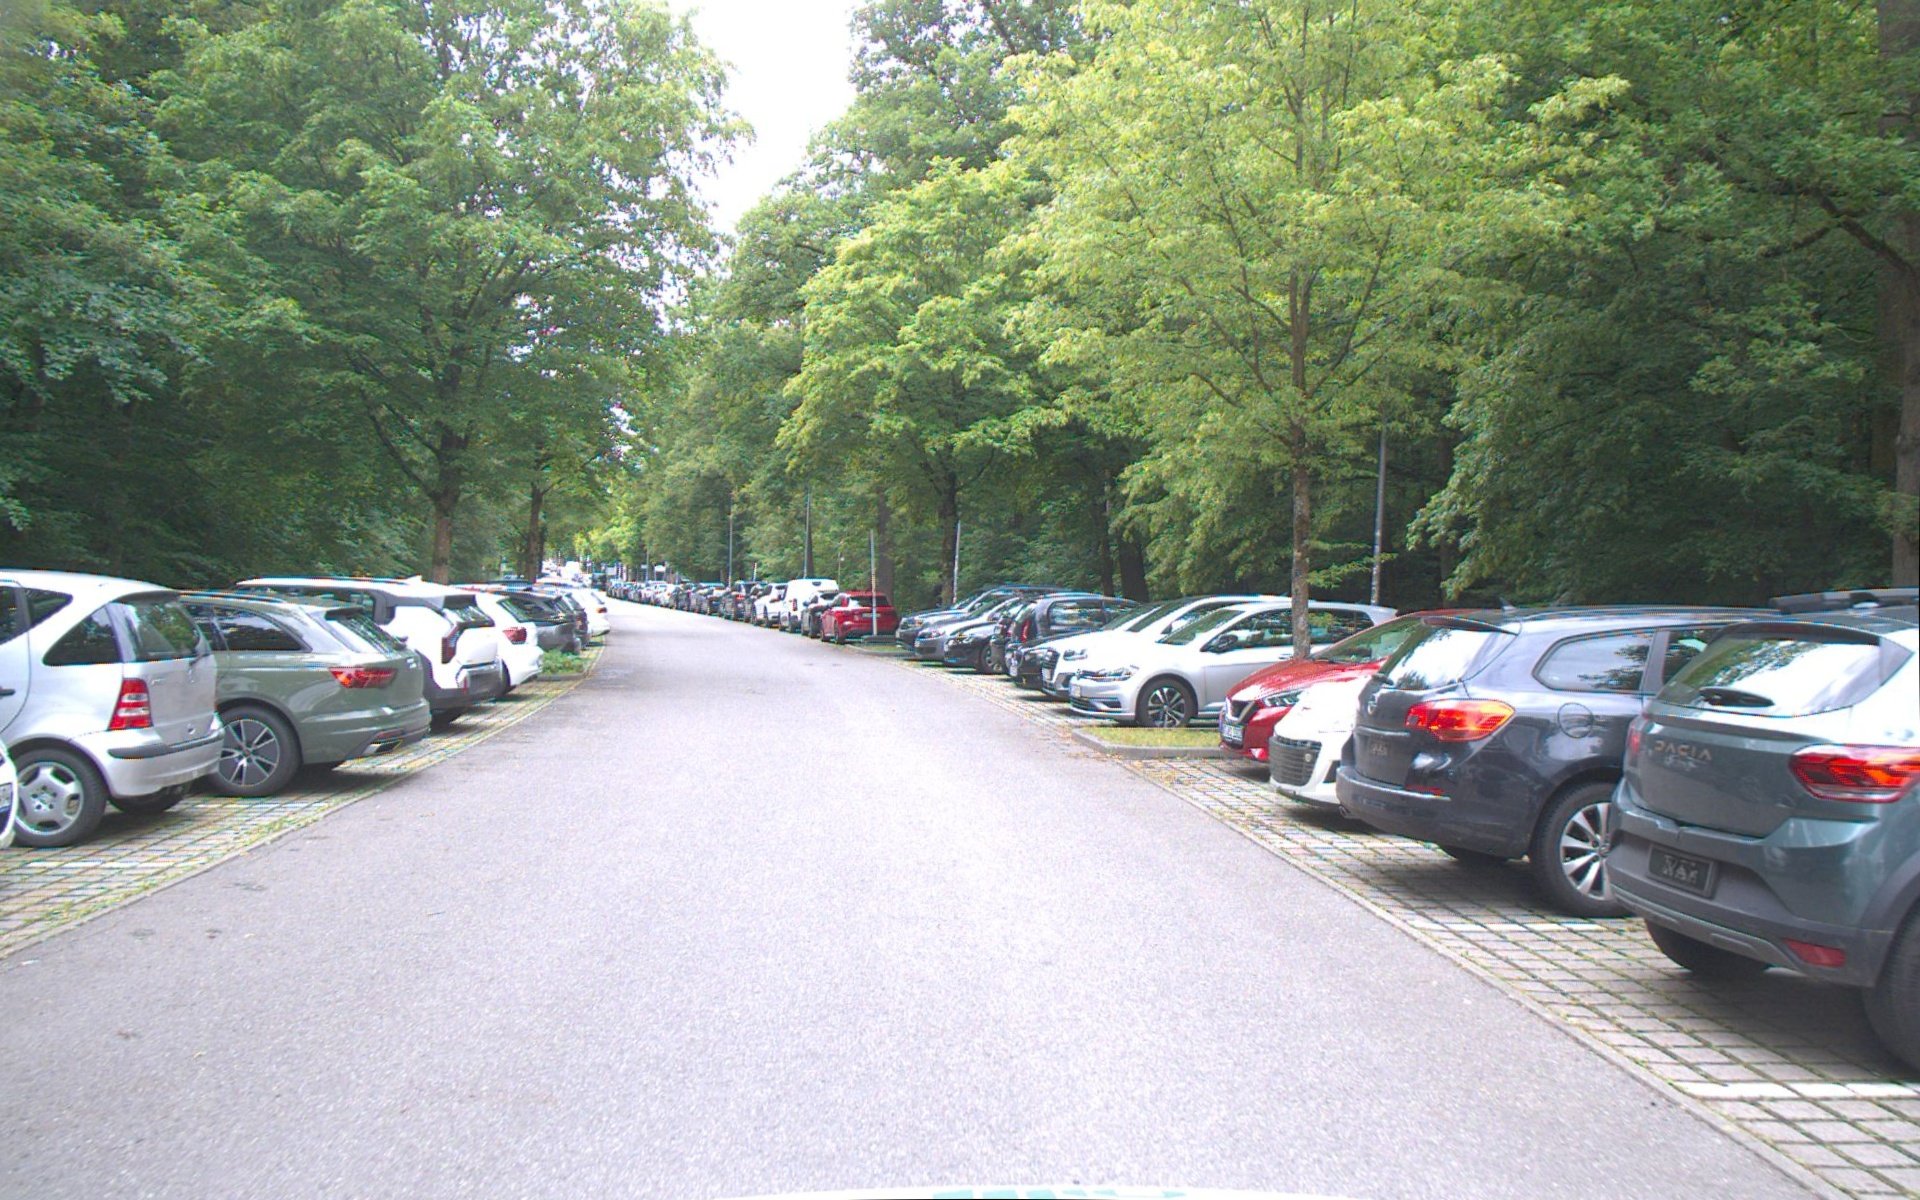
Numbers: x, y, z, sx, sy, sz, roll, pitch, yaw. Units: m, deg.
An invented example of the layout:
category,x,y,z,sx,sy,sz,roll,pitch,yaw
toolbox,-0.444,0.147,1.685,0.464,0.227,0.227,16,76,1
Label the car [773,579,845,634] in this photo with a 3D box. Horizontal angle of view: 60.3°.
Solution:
category,x,y,z,sx,sy,sz,roll,pitch,yaw
car,-5.267,0.198,57.246,1.715,1.811,4.534,1,0,-15

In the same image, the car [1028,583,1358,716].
category,x,y,z,sx,sy,sz,roll,pitch,yaw
car,2.984,0.619,21.728,3.931,1.586,1.975,1,1,-6

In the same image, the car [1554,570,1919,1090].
category,x,y,z,sx,sy,sz,roll,pitch,yaw
car,4.450,0.732,6.219,3.693,1.617,1.948,1,1,-3

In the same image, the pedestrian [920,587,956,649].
category,x,y,z,sx,sy,sz,roll,pitch,yaw
pedestrian,-0.646,0.508,47.764,0.803,1.756,1.000,1,0,-13

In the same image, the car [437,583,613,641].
category,x,y,z,sx,sy,sz,roll,pitch,yaw
car,-11.597,0.319,44.368,4.483,1.512,1.864,0,0,-13

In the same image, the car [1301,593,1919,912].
category,x,y,z,sx,sy,sz,roll,pitch,yaw
car,3.952,0.760,9.062,3.697,1.507,1.771,1,1,-8

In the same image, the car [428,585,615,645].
category,x,y,z,sx,sy,sz,roll,pitch,yaw
car,-11.144,0.380,42.073,4.489,1.472,2.076,0,0,-17

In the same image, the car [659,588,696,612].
category,x,y,z,sx,sy,sz,roll,pitch,yaw
car,-18.353,-0.010,107.369,1.906,1.501,3.974,1,0,-17

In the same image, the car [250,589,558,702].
category,x,y,z,sx,sy,sz,roll,pitch,yaw
car,-7.440,0.586,22.462,3.656,1.444,1.869,0,0,-8

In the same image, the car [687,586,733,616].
category,x,y,z,sx,sy,sz,roll,pitch,yaw
car,-13.696,0.041,90.329,1.946,1.564,4.602,1,0,-16

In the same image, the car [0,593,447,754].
category,x,y,z,sx,sy,sz,roll,pitch,yaw
car,-6.851,0.635,15.347,3.717,1.380,1.727,0,0,-7

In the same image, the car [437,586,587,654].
category,x,y,z,sx,sy,sz,roll,pitch,yaw
car,-9.991,0.447,37.103,3.163,1.469,1.675,1,0,-14

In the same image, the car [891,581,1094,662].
category,x,y,z,sx,sy,sz,roll,pitch,yaw
car,0.692,0.458,36.731,4.189,1.695,1.953,1,0,-11

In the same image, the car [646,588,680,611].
category,x,y,z,sx,sy,sz,roll,pitch,yaw
car,-20.298,-0.068,112.920,1.696,1.520,3.751,1,0,-20

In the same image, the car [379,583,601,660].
category,x,y,z,sx,sy,sz,roll,pitch,yaw
car,-9.683,0.439,34.417,4.187,1.512,2.053,1,0,-9

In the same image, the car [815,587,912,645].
category,x,y,z,sx,sy,sz,roll,pitch,yaw
car,-2.779,0.417,46.609,1.959,1.505,4.956,1,0,-13

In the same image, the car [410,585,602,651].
category,x,y,z,sx,sy,sz,roll,pitch,yaw
car,-10.764,0.429,39.392,4.293,1.512,1.884,0,0,-15

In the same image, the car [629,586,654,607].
category,x,y,z,sx,sy,sz,roll,pitch,yaw
car,-25.079,-0.290,130.151,1.682,1.535,3.984,1,0,-15

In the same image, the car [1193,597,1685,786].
category,x,y,z,sx,sy,sz,roll,pitch,yaw
car,4.145,0.752,14.529,3.730,1.466,1.864,1,1,-15

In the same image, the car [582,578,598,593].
category,x,y,z,sx,sy,sz,roll,pitch,yaw
car,-42.397,-1.672,189.441,1.602,1.440,3.397,2,3,-16

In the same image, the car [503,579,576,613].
category,x,y,z,sx,sy,sz,roll,pitch,yaw
car,-24.166,-0.230,94.998,3.925,1.848,2.104,1,0,-18

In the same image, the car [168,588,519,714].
category,x,y,z,sx,sy,sz,roll,pitch,yaw
car,-7.391,0.578,20.189,3.734,1.446,1.892,0,0,-11

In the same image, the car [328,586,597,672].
category,x,y,z,sx,sy,sz,roll,pitch,yaw
car,-8.762,0.501,29.494,4.323,1.449,2.031,1,0,-9

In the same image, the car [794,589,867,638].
category,x,y,z,sx,sy,sz,roll,pitch,yaw
car,-4.124,0.389,52.063,1.695,1.447,4.270,1,0,-13

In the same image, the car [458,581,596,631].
category,x,y,z,sx,sy,sz,roll,pitch,yaw
car,-14.689,0.208,56.223,4.439,1.612,1.920,1,0,-15

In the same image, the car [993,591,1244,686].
category,x,y,z,sx,sy,sz,roll,pitch,yaw
car,2.534,0.603,26.897,3.756,1.483,1.805,0,0,-9

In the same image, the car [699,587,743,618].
category,x,y,z,sx,sy,sz,roll,pitch,yaw
car,-12.231,0.107,84.516,1.611,1.503,4.132,1,0,-17

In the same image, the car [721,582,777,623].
category,x,y,z,sx,sy,sz,roll,pitch,yaw
car,-9.539,0.095,74.455,1.858,1.777,4.928,1,0,-15

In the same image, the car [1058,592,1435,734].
category,x,y,z,sx,sy,sz,roll,pitch,yaw
car,3.261,0.707,19.208,3.904,1.509,1.880,1,1,-10

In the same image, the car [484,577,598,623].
category,x,y,z,sx,sy,sz,roll,pitch,yaw
car,-16.110,0.015,63.738,4.153,1.661,2.022,1,0,-14

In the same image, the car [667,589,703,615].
category,x,y,z,sx,sy,sz,roll,pitch,yaw
car,-16.706,0.100,100.393,1.640,1.470,3.794,1,0,-18

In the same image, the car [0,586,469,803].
category,x,y,z,sx,sy,sz,roll,pitch,yaw
car,-6.275,0.650,12.559,4.550,1.504,2.092,0,0,-6

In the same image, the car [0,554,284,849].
category,x,y,z,sx,sy,sz,roll,pitch,yaw
car,-6.633,0.564,10.216,4.153,1.676,1.967,0,0,-8

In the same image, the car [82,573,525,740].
category,x,y,z,sx,sy,sz,roll,pitch,yaw
car,-6.833,0.555,17.551,3.878,1.656,1.998,0,0,1

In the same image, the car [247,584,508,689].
category,x,y,z,sx,sy,sz,roll,pitch,yaw
car,-8.614,0.514,24.714,3.400,1.507,1.681,0,0,-8

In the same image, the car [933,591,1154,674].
category,x,y,z,sx,sy,sz,roll,pitch,yaw
car,1.570,0.609,31.756,3.914,1.501,1.948,1,0,-10

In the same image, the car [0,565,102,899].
category,x,y,z,sx,sy,sz,roll,pitch,yaw
car,-6.559,0.608,7.716,4.151,1.560,1.760,0,0,-6

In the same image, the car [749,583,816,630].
category,x,y,z,sx,sy,sz,roll,pitch,yaw
car,-6.826,0.227,63.234,1.756,1.691,4.697,1,0,-16

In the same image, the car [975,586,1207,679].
category,x,y,z,sx,sy,sz,roll,pitch,yaw
car,2.260,0.539,29.117,3.757,1.558,1.847,0,0,-10

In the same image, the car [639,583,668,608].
category,x,y,z,sx,sy,sz,roll,pitch,yaw
car,-21.900,-0.332,118.147,1.682,1.758,3.984,1,0,-15

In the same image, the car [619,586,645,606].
category,x,y,z,sx,sy,sz,roll,pitch,yaw
car,-27.219,-0.334,137.018,1.889,1.547,3.872,1,0,-14

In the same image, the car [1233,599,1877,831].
category,x,y,z,sx,sy,sz,roll,pitch,yaw
car,4.071,0.766,11.709,3.856,1.435,1.876,1,1,-6

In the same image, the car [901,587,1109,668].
category,x,y,z,sx,sy,sz,roll,pitch,yaw
car,0.911,0.555,34.314,3.922,1.579,1.967,1,0,-16

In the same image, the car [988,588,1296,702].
category,x,y,z,sx,sy,sz,roll,pitch,yaw
car,2.614,0.644,24.230,4.111,1.538,1.889,1,1,-11
